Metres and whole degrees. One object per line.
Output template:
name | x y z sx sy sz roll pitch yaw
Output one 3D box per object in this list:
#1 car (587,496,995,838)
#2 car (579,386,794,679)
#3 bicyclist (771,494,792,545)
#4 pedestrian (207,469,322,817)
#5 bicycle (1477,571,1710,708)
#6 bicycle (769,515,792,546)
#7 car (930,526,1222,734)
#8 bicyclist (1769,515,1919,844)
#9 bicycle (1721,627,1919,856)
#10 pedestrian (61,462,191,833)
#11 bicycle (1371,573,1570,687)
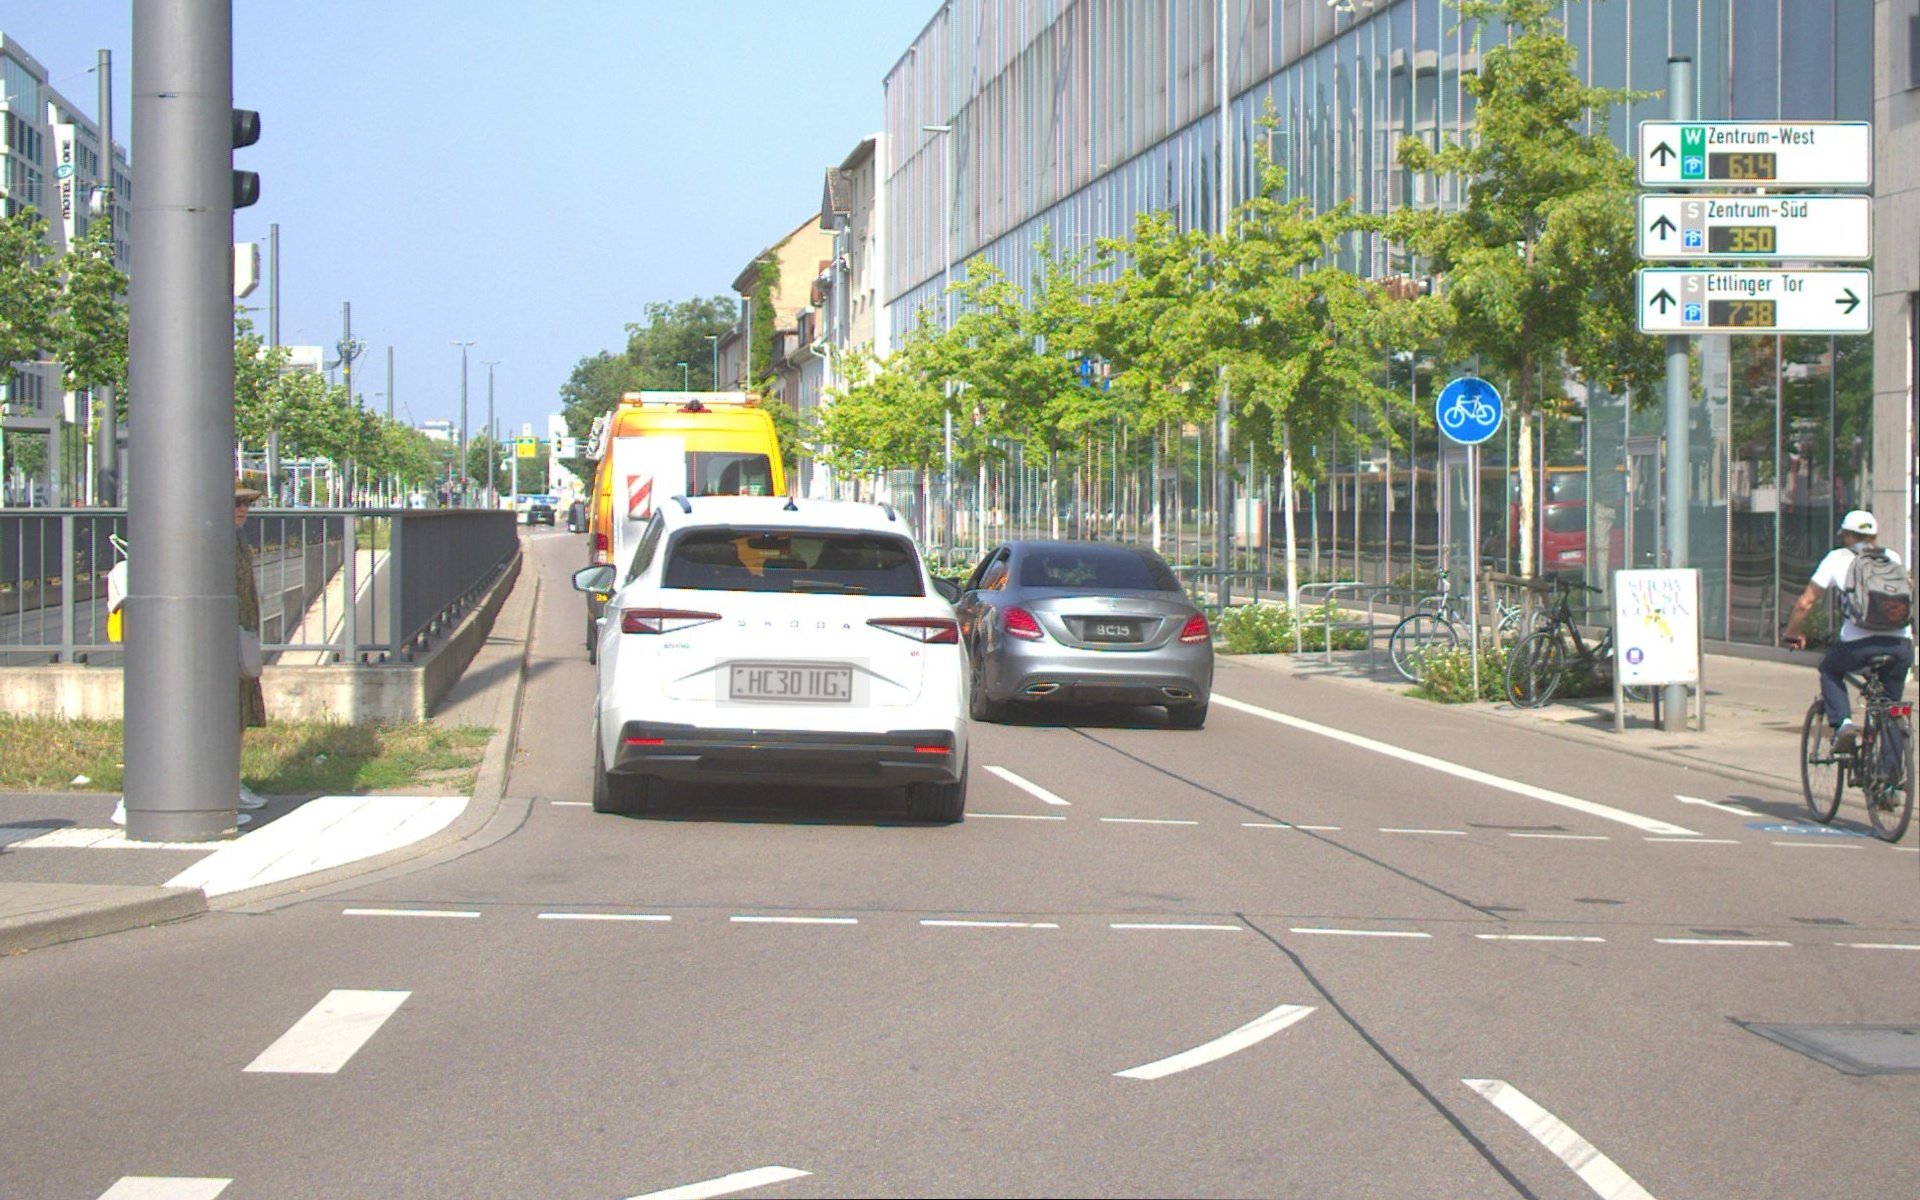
car | -0.995 0.255 17.966 1.869 1.569 4.001 0 2 -6
car | -2.903 -0.745 35.493 2.020 2.786 5.402 0 2 -6
bicyclist | -5.536 -2.490 106.571 0.639 1.571 0.771 1 2 -4
pedestrian | -3.363 0.195 16.651 0.467 1.644 0.777 1 2 -7
bicycle | 5.516 0.341 30.001 1.839 1.109 0.687 2 2 -5
bicycle | -5.562 -2.166 106.685 0.655 0.935 1.517 1 2 -4
car | 0.841 0.182 27.407 1.760 1.431 4.116 2 2 -5
bicyclist | 4.846 0.415 18.683 0.651 1.743 0.769 0 2 -4
bicycle | 4.835 0.751 19.003 0.661 1.113 2.051 0 2 -4
pedestrian | -3.788 0.199 15.641 0.467 1.644 0.777 1 2 -7
bicycle | 5.066 0.296 34.157 1.878 1.105 0.490 0 2 -4
